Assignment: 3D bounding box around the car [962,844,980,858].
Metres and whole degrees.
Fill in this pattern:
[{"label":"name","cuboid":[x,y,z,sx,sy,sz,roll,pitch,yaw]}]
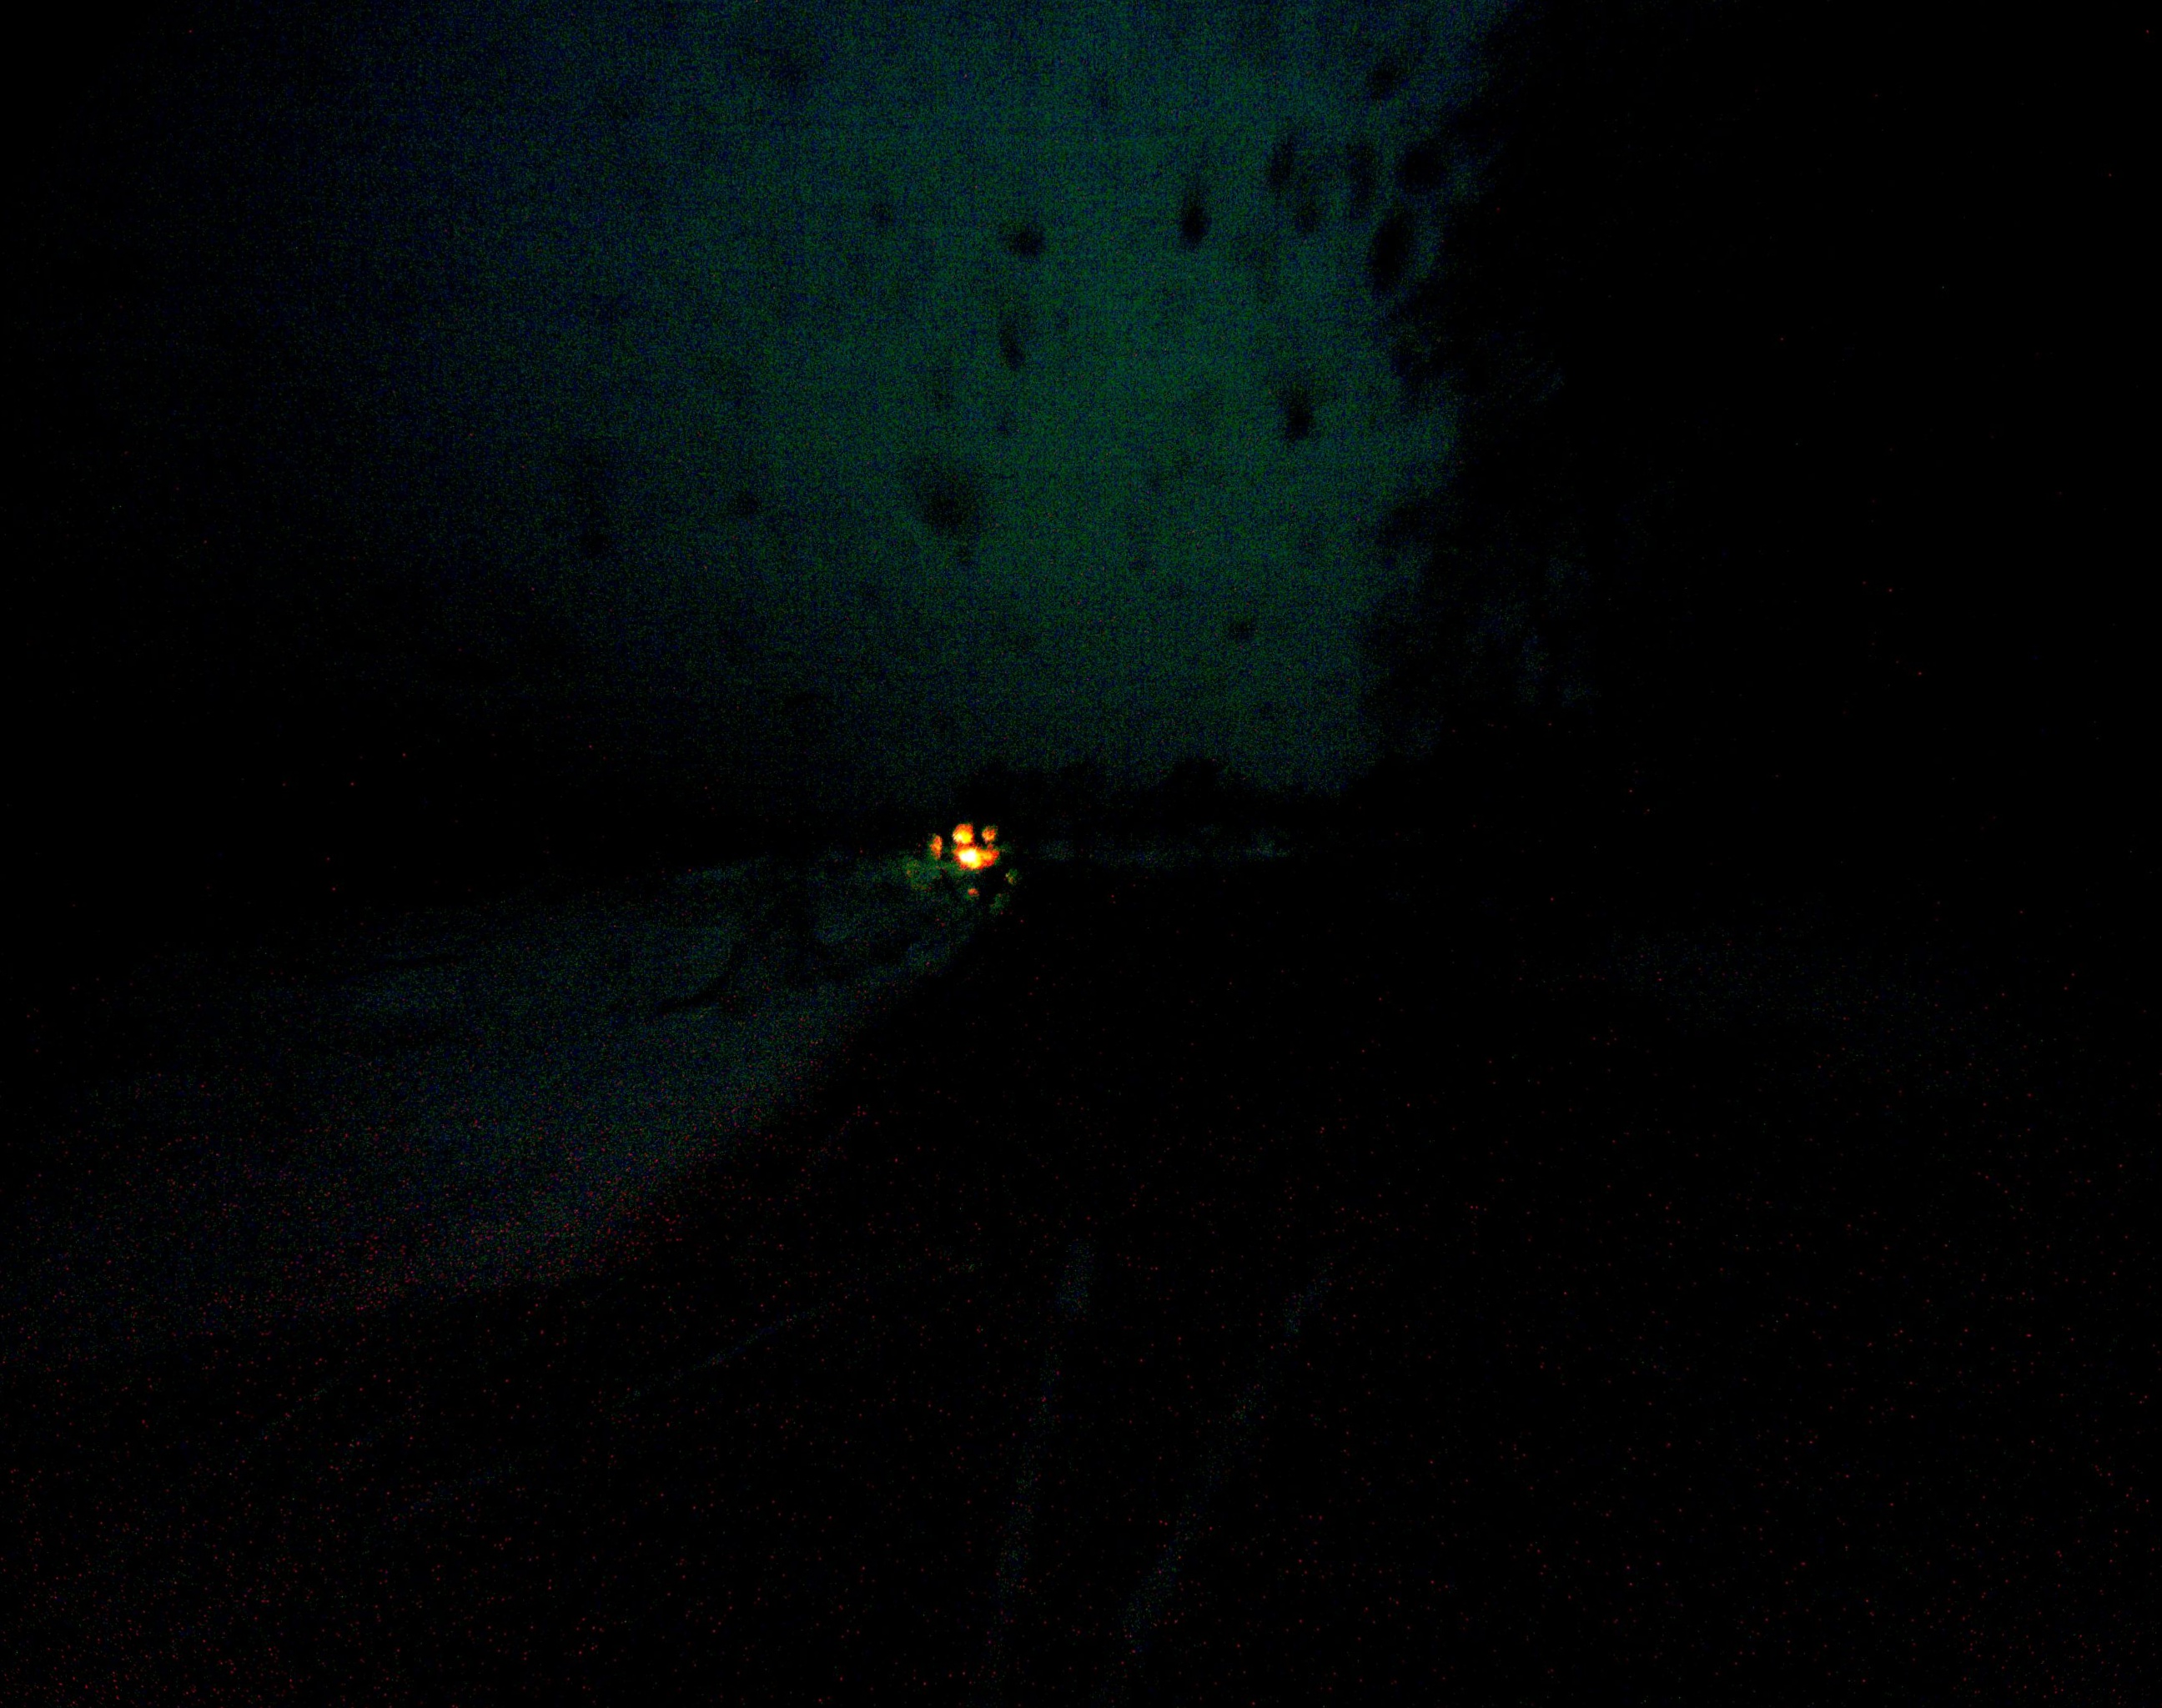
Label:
[{"label":"car","cuboid":[-17.489,-0.510,120.557,2.001,2.003,3.992,-5,3,-18]}]
